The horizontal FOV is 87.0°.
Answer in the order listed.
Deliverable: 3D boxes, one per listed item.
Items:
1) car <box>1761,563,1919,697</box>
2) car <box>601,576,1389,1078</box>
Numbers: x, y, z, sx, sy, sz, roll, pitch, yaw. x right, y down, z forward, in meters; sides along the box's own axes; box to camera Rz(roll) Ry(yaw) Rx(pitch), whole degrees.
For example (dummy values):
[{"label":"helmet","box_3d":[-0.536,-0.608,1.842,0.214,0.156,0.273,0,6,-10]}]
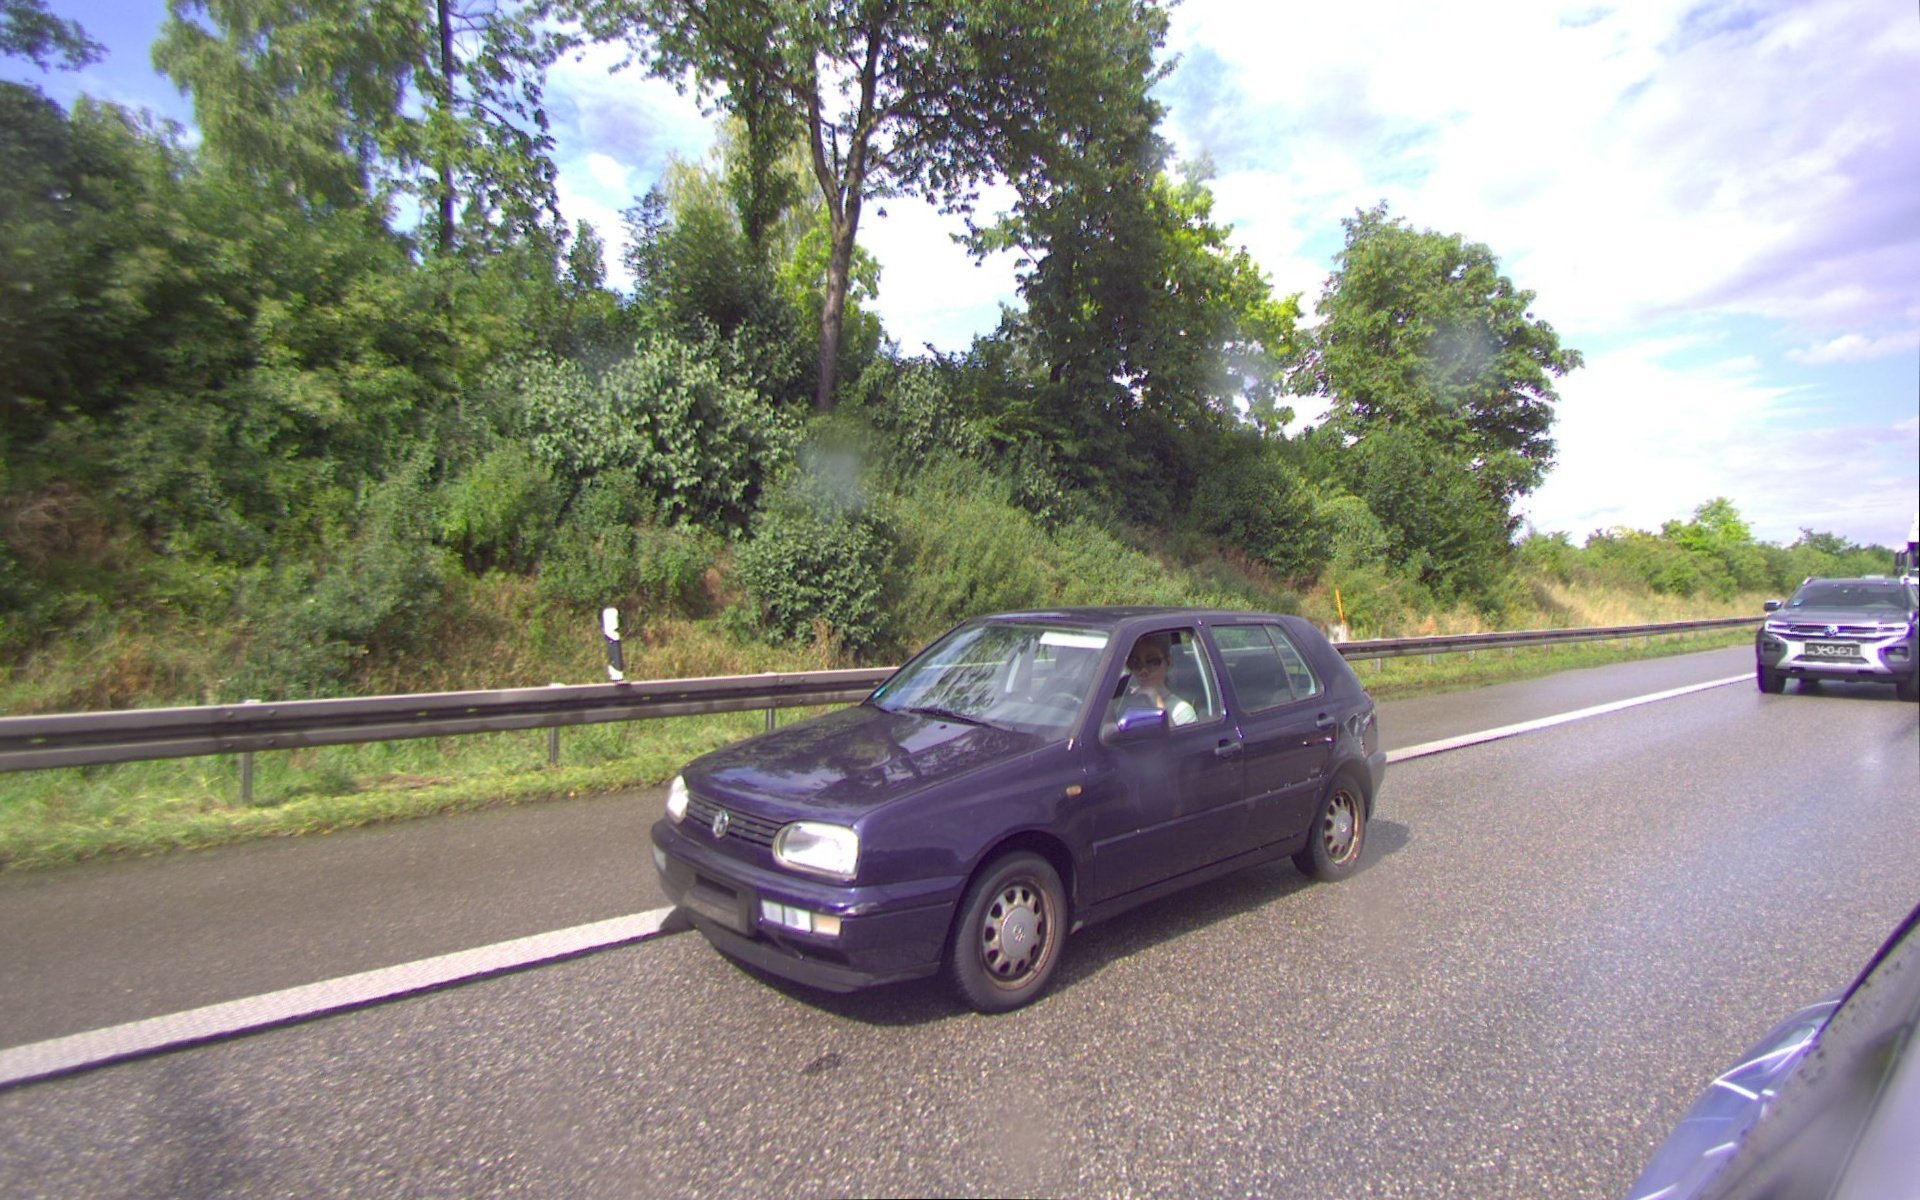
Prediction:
[{"label":"car","box_3d":[14.585,0.381,16.232,5.213,1.826,1.830,0,1,-41]},{"label":"car","box_3d":[0.414,0.640,4.834,3.681,1.474,1.653,-1,1,-43]}]
